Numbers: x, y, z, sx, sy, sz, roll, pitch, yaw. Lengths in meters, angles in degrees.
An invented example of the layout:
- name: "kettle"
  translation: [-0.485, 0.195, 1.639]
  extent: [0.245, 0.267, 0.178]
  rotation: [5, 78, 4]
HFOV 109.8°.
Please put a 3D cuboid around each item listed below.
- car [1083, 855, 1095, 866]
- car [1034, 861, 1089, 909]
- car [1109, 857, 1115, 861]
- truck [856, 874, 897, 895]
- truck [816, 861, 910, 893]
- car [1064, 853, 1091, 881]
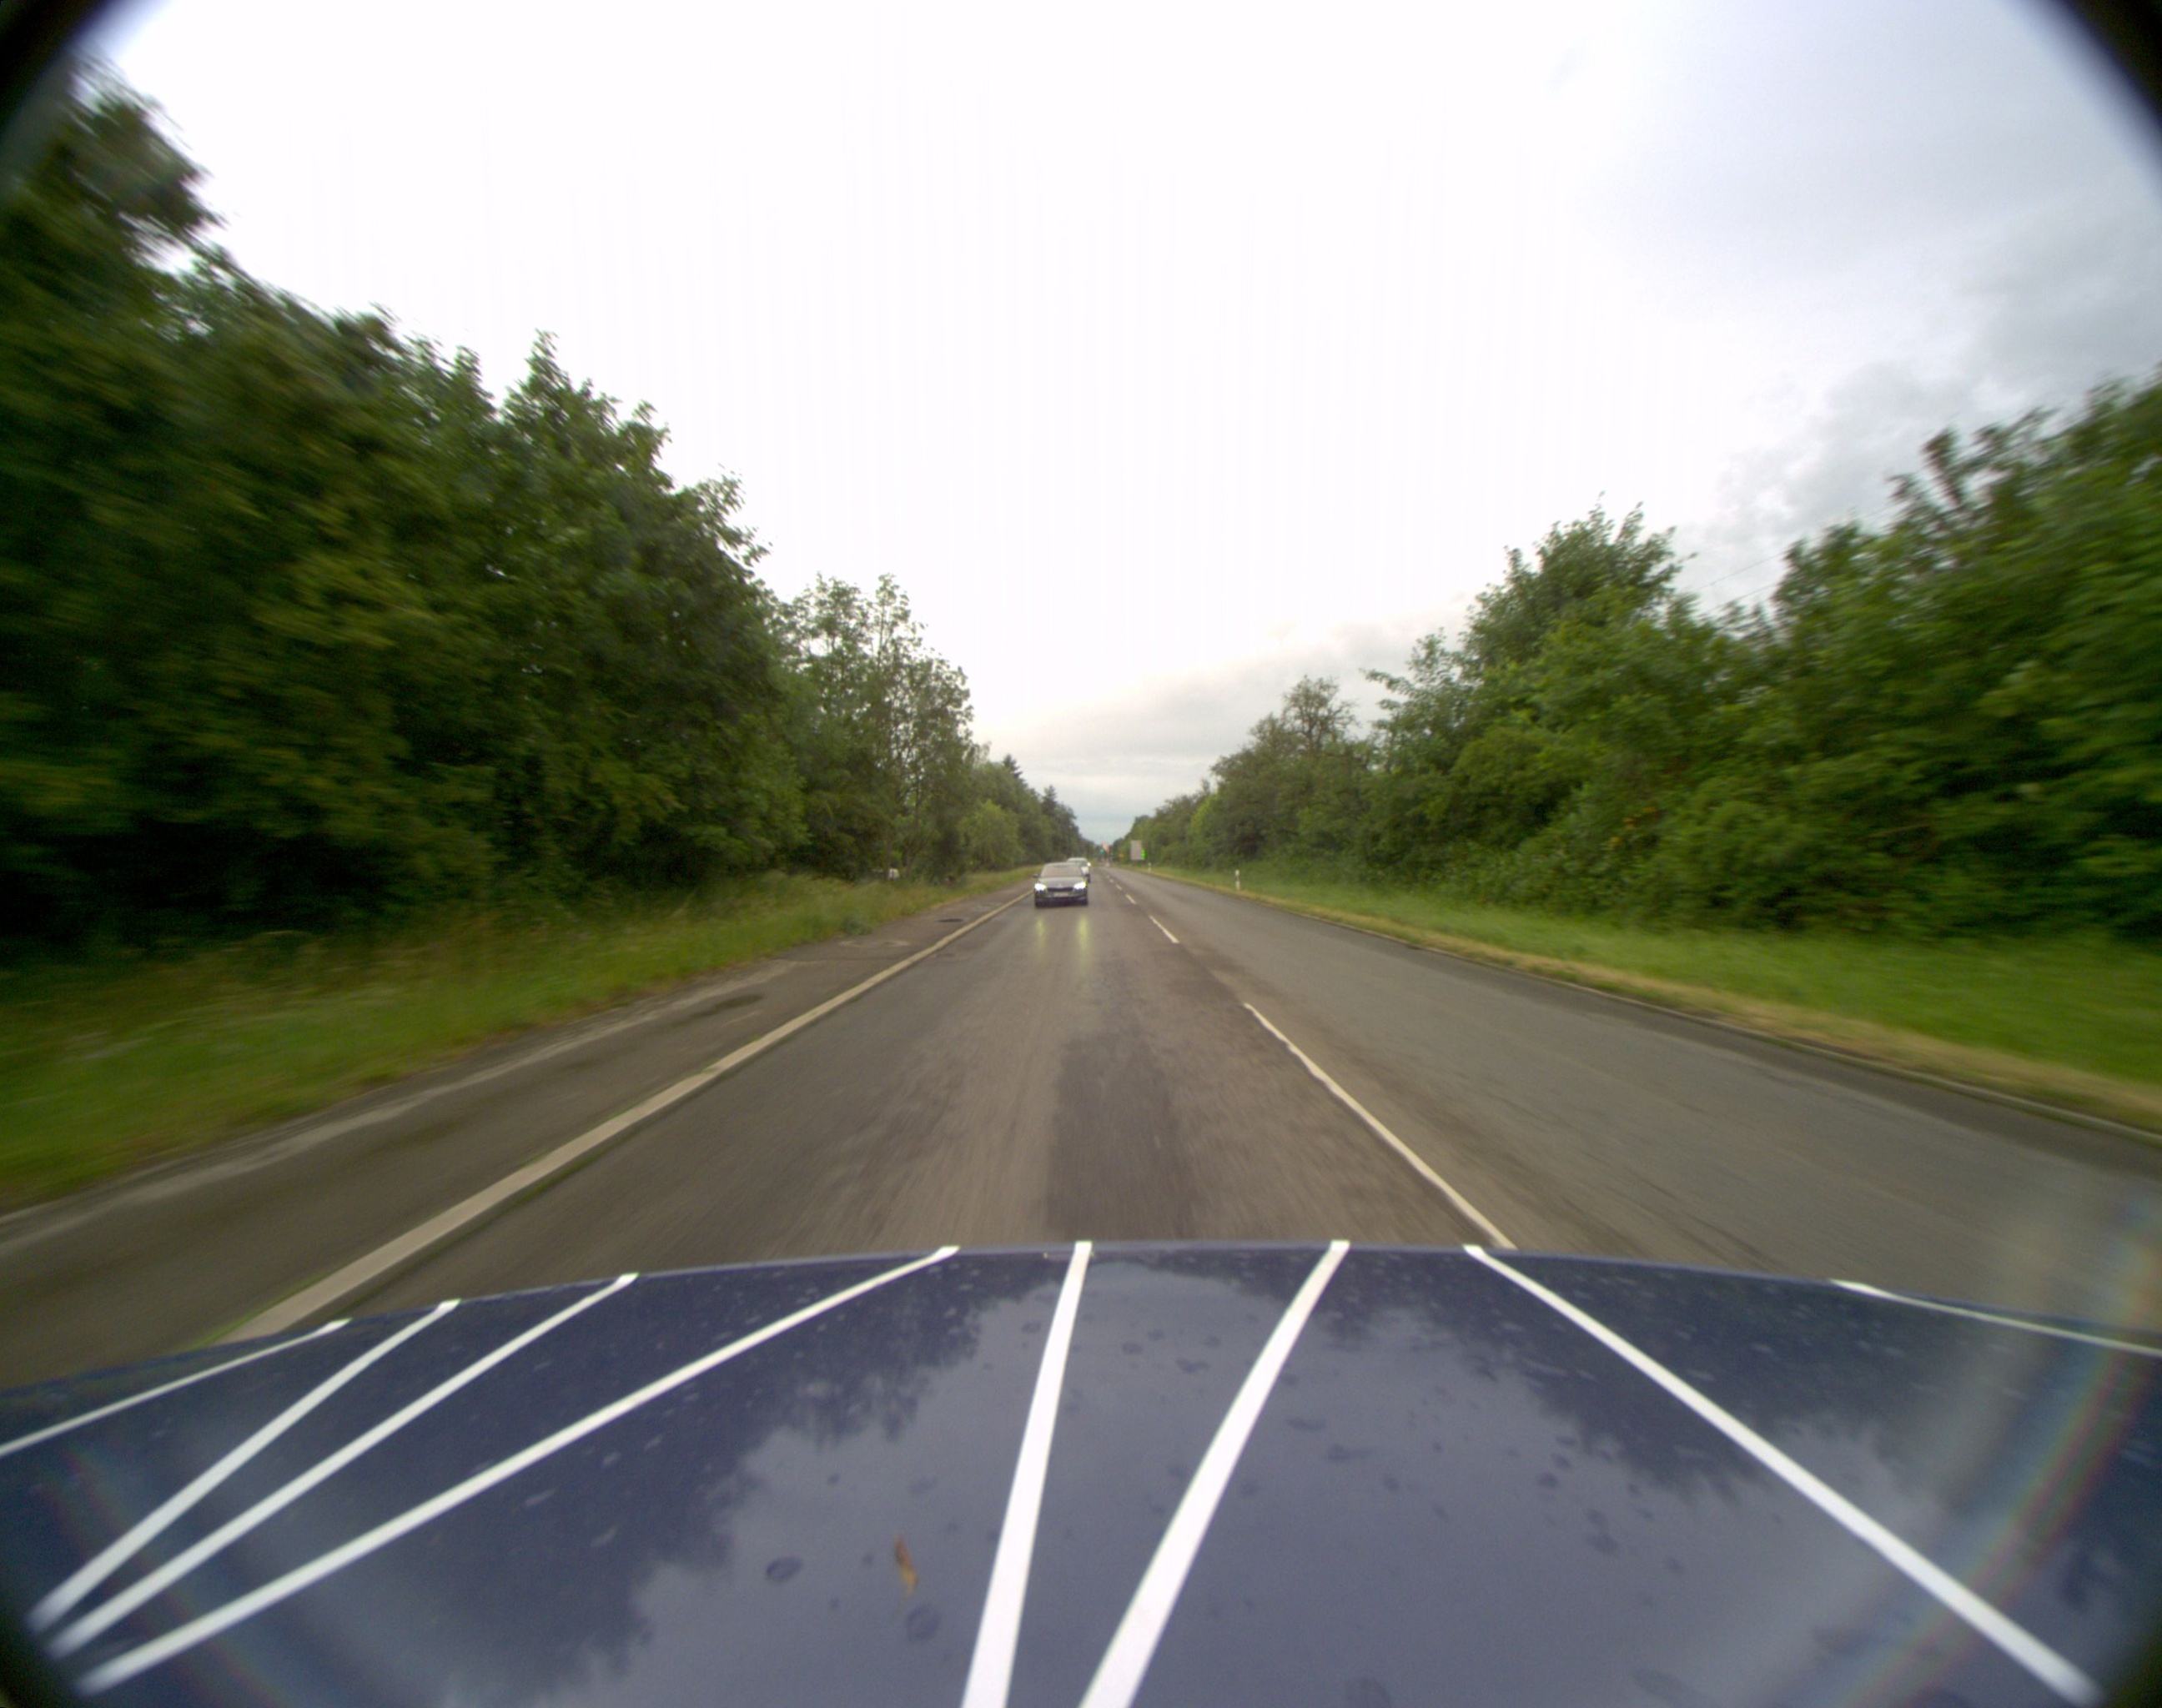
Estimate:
- name: "car"
  translation: [1.333, 1.019, 120.323]
  extent: [1.856, 1.686, 4.000]
  rotation: [0, 0, 1]
- name: "car"
  translation: [-0.610, 1.019, 26.627]
  extent: [1.675, 1.477, 4.215]
  rotation: [-3, -1, 1]
- name: "car"
  translation: [10.662, 1.586, 263.621]
  extent: [1.896, 1.346, 4.382]
  rotation: [-1, 0, 0]
- name: "truck"
  translation: [-15.222, 2.269, 56.652]
  extent: [2.357, 1.389, 1.760]
  rotation: [-1, 0, 13]
- name: "truck"
  translation: [-17.622, 1.859, 61.485]
  extent: [7.056, 2.345, 2.068]
  rotation: [-1, 0, 10]
- name: "car"
  translation: [-0.210, 0.811, 50.344]
  extent: [1.704, 1.723, 3.999]
  rotation: [-1, 0, 0]
